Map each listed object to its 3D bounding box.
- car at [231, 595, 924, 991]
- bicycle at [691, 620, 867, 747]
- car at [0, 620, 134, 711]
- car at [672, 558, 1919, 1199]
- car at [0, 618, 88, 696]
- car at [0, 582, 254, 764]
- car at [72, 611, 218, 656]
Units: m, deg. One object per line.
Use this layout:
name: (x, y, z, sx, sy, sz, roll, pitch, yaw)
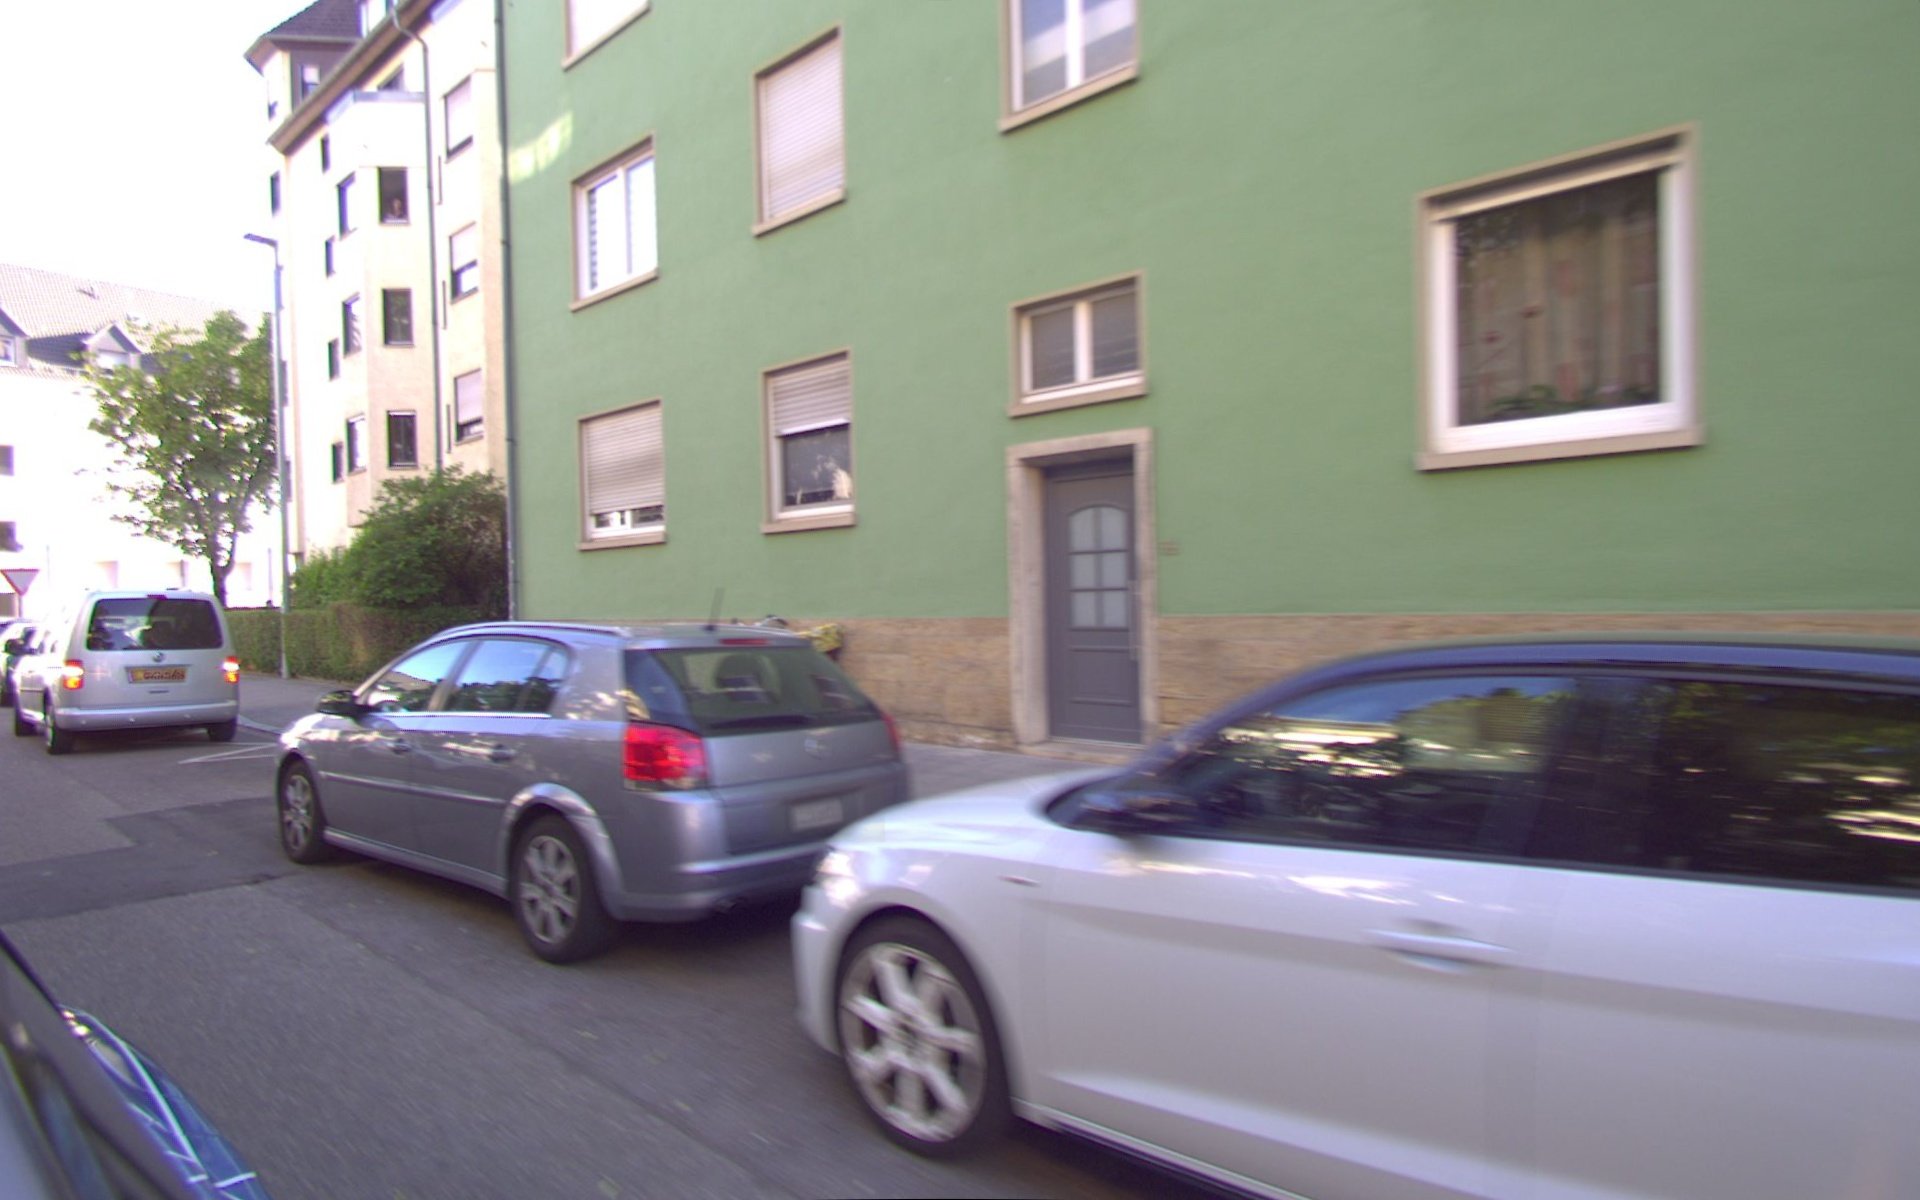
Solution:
car: (-2.460, 0.772, 5.866, 4.501, 1.473, 1.703, -1, -2, 38)
bicycle: (-1.792, 0.757, 9.810, 1.969, 1.083, 0.482, -1, 4, 41)
car: (-16.648, 1.137, 18.418, 4.204, 1.464, 1.748, -2, -3, 40)
car: (1.314, 0.710, 2.552, 4.360, 1.473, 1.814, -1, -2, 40)
car: (-20.655, 1.193, 21.964, 4.065, 1.567, 1.704, -1, -2, 36)
car: (-10.438, 0.780, 12.445, 4.411, 1.857, 1.753, -1, -1, 40)
car: (-33.420, 1.349, 41.630, 1.993, 1.569, 4.240, -2, 1, 31)
